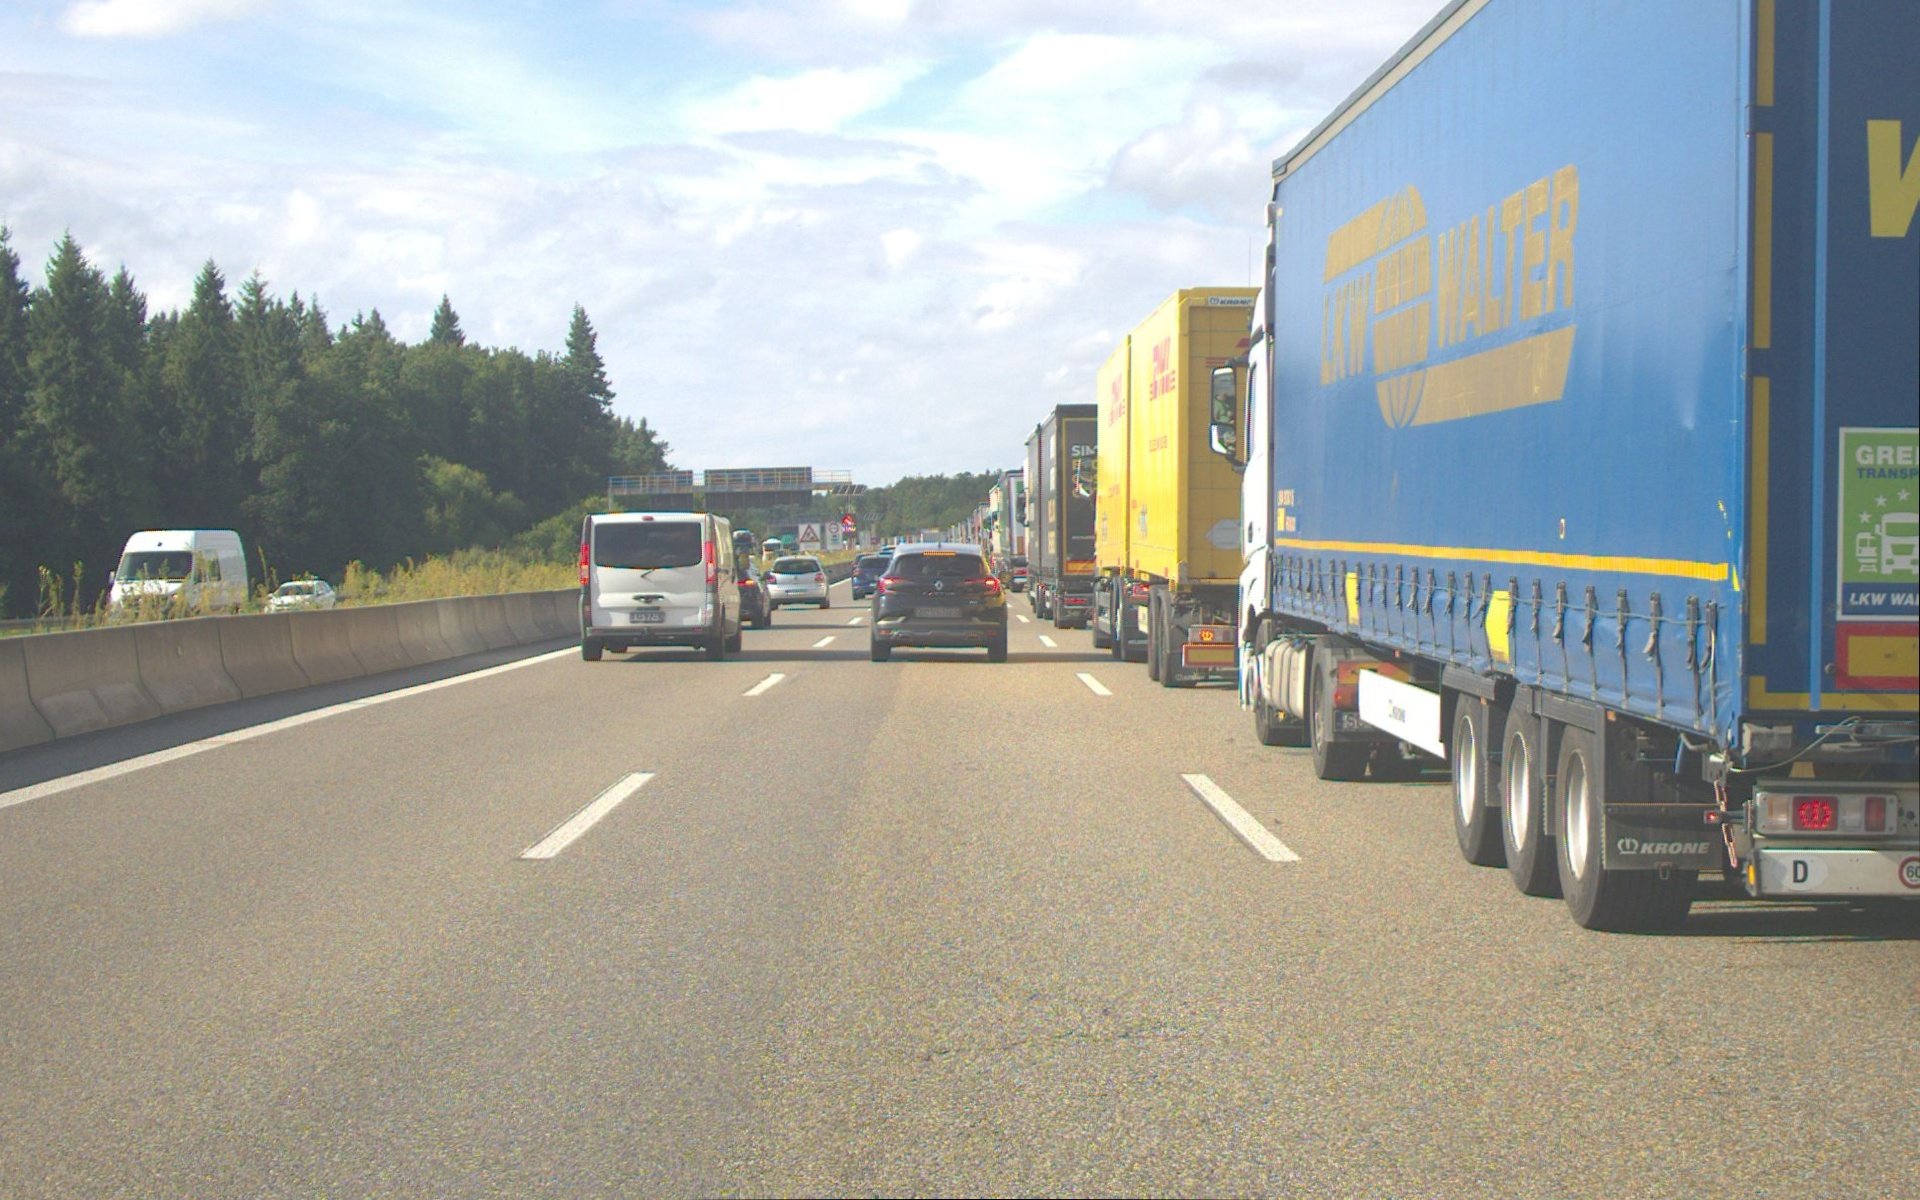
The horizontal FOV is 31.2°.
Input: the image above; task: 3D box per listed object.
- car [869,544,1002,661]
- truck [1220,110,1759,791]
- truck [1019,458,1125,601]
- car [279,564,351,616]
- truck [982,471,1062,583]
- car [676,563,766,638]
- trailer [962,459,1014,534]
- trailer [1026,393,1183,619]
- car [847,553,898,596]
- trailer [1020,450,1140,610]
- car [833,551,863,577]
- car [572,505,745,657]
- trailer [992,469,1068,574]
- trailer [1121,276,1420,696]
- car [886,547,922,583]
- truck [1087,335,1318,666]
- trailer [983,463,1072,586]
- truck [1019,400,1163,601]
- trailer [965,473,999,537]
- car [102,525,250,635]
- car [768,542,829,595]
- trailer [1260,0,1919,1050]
[{"bbox_3d":[-0.314,0.002,45.928,1.696,1.478,4.160,0,1,0],"label":"car"},{"bbox_3d":[3.421,-0.941,23.865,2.648,4.075,6.492,0,1,-1],"label":"truck"},{"bbox_3d":[3.188,-2.021,99.251,2.802,3.925,5.826,-2,1,1],"label":"truck"},{"bbox_3d":[-23.303,-0.381,124.326,1.993,1.793,4.978,0,1,-4],"label":"car"},{"bbox_3d":[2.229,-2.655,125.608,2.647,3.855,6.996,-3,1,0],"label":"truck"},{"bbox_3d":[-4.600,-0.009,66.450,1.500,1.391,3.476,0,1,0],"label":"car"},{"bbox_3d":[1.720,-6.215,208.106,2.802,4.229,11.057,-3,1,1],"label":"trailer"},{"bbox_3d":[2.604,-1.754,64.498,2.716,3.947,8.711,0,1,1],"label":"trailer"},{"bbox_3d":[-2.839,-0.851,112.373,1.581,1.391,3.208,0,1,0],"label":"car"},{"bbox_3d":[3.122,-1.855,92.810,2.792,3.925,13.070,-2,1,1],"label":"trailer"},{"bbox_3d":[-5.755,-1.836,176.617,1.434,1.305,3.533,0,1,0],"label":"car"},{"bbox_3d":[-4.076,-0.282,47.221,1.933,1.972,5.099,0,1,0],"label":"car"},{"bbox_3d":[2.852,-3.282,144.050,2.703,4.067,12.945,-3,1,0],"label":"trailer"},{"bbox_3d":[3.218,-1.197,37.767,2.412,4.054,8.927,0,1,0],"label":"trailer"},{"bbox_3d":[-2.190,-1.374,134.861,1.361,1.391,3.085,0,1,0],"label":"car"},{"bbox_3d":[3.155,-1.325,47.073,2.412,4.054,9.665,0,1,0],"label":"truck"},{"bbox_3d":[2.237,-2.549,118.493,2.661,3.855,13.395,-3,1,0],"label":"trailer"},{"bbox_3d":[2.708,-2.072,73.965,2.741,4.024,10.203,0,1,0],"label":"truck"},{"bbox_3d":[1.553,-6.593,240.294,2.150,4.244,8.440,-3,1,1],"label":"trailer"},{"bbox_3d":[-19.099,-0.513,84.094,2.033,2.569,7.322,0,1,-1],"label":"car"},{"bbox_3d":[-4.360,-0.868,93.041,1.500,1.391,3.476,0,1,0],"label":"car"},{"bbox_3d":[3.508,-0.826,17.019,2.642,4.084,13.981,0,1,-1],"label":"trailer"}]
